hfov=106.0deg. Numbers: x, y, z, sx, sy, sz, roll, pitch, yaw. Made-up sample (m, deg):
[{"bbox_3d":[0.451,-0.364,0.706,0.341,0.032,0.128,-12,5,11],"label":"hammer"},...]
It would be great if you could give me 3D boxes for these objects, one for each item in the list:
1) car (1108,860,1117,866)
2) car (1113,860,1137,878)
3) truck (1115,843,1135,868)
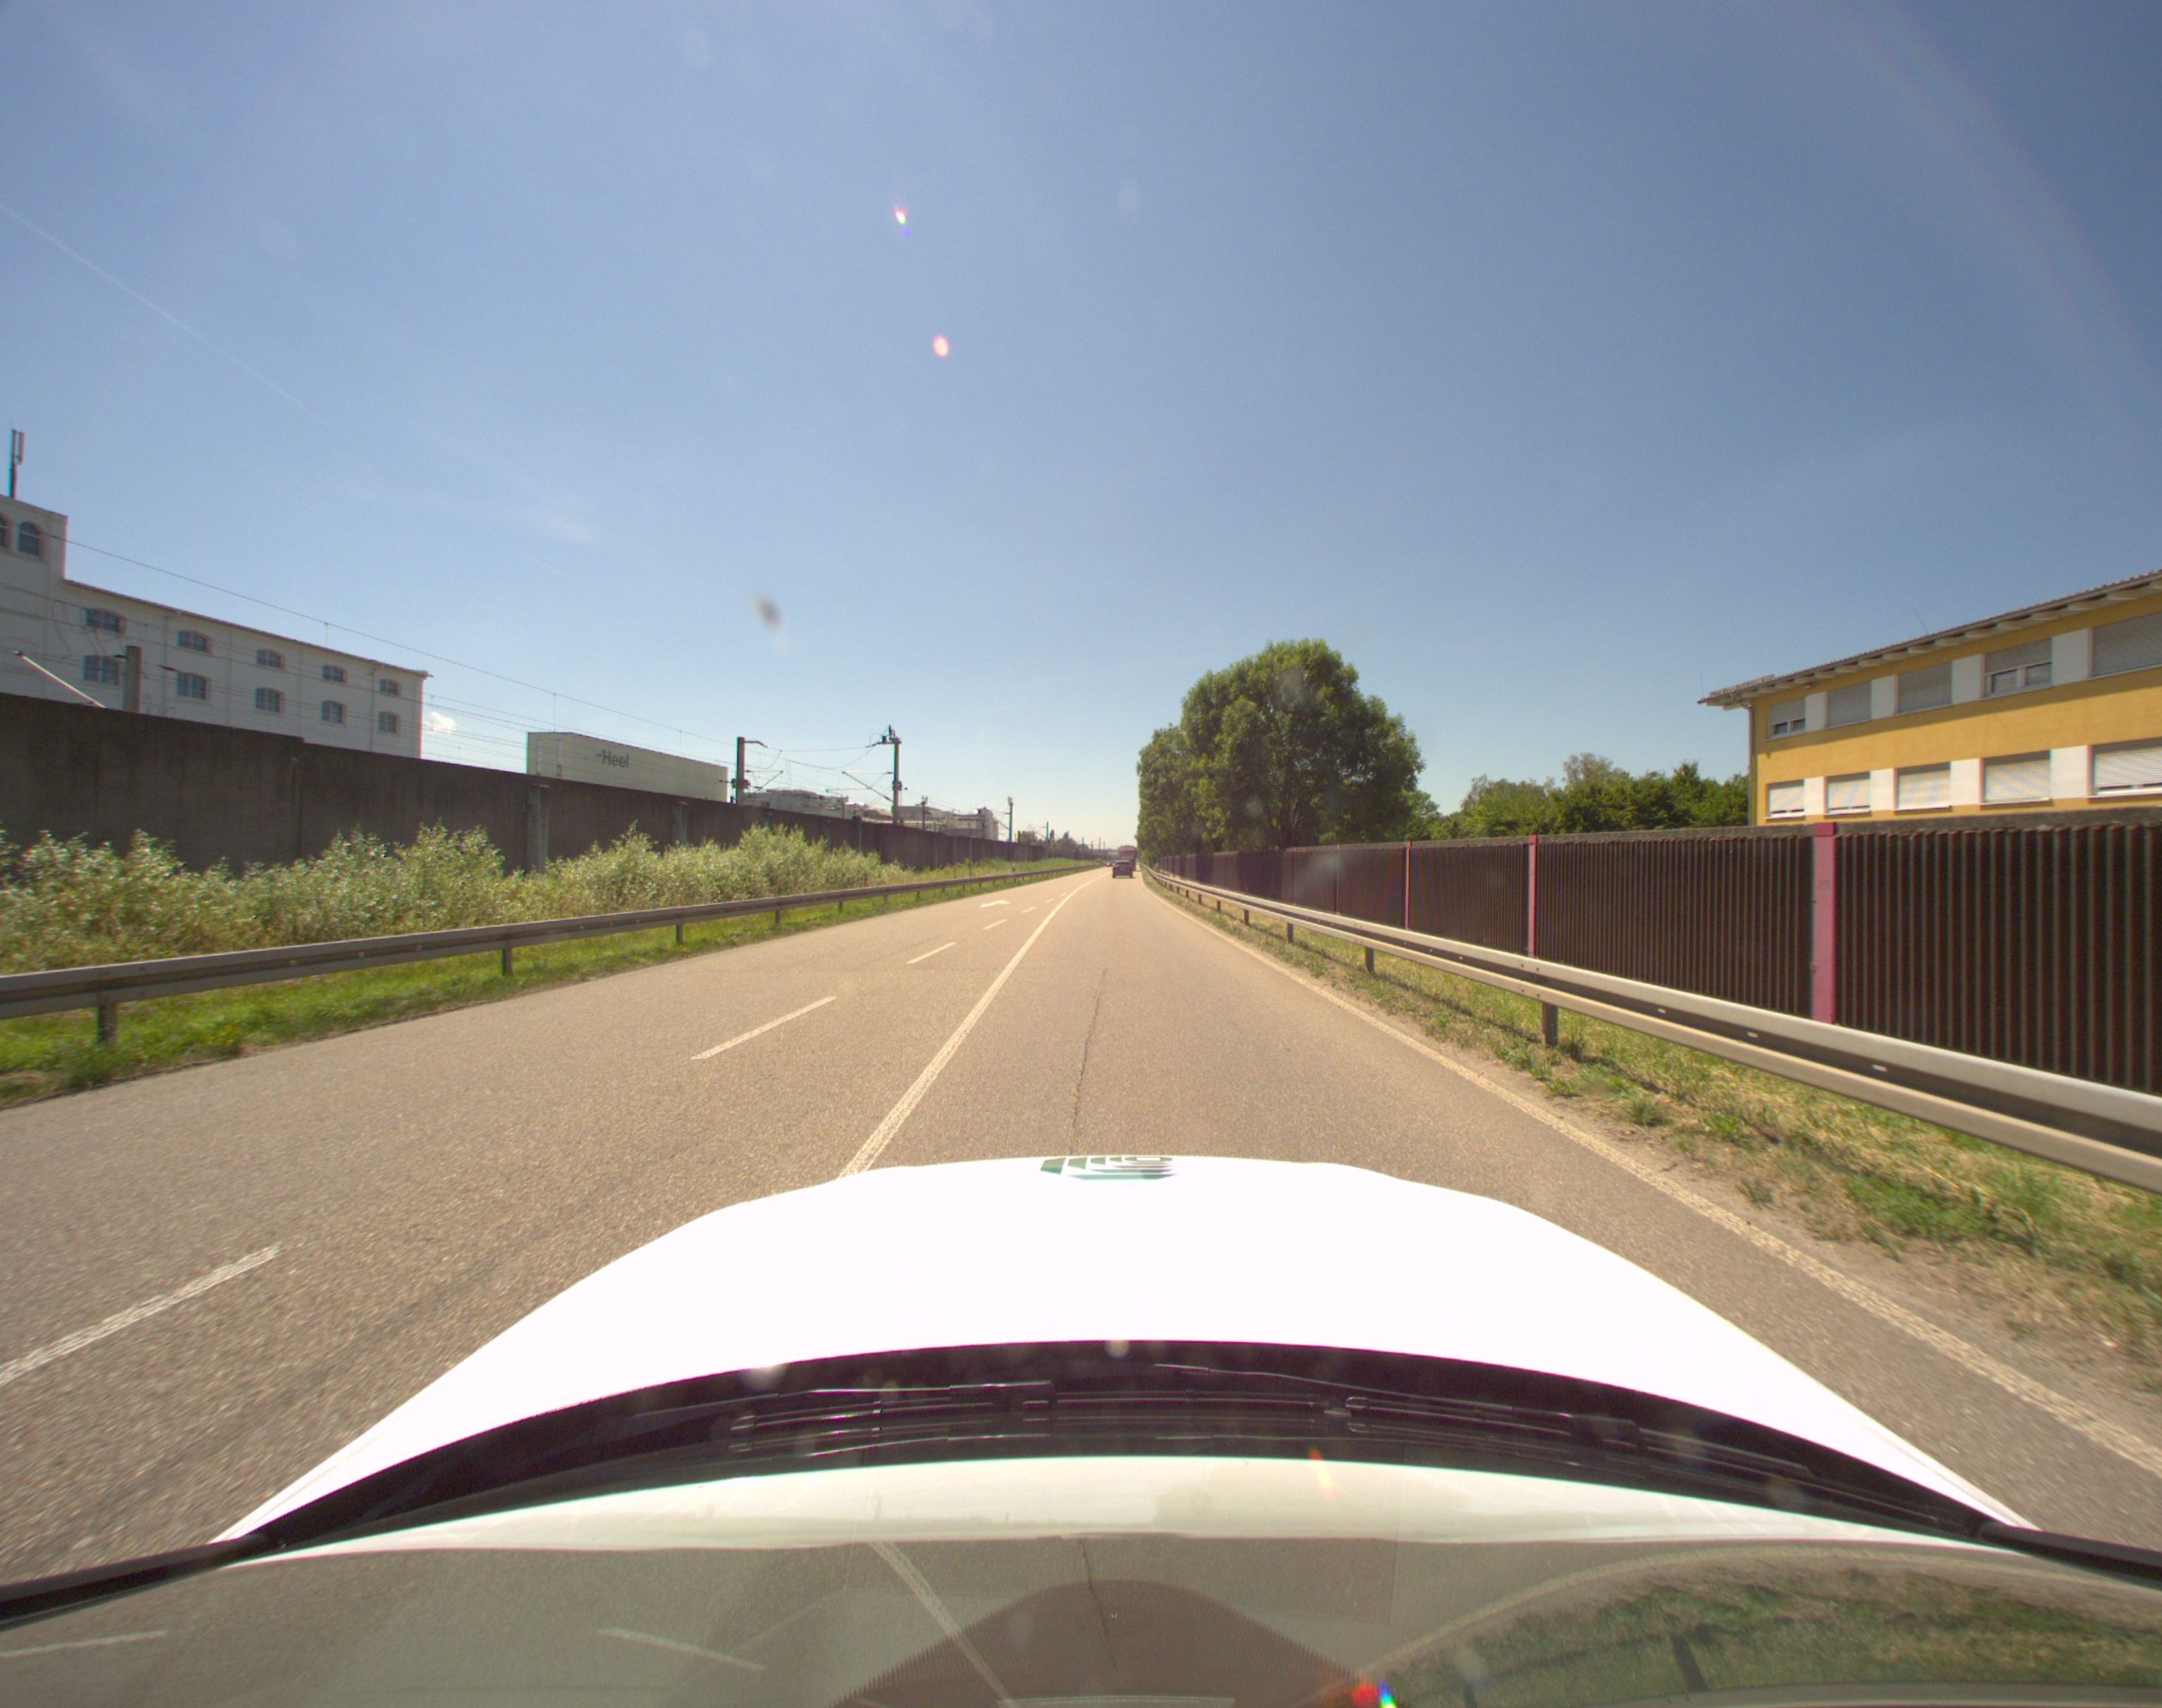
[{"bbox_3d":[7.203,2.066,187.108,1.984,1.508,4.005,-1,-1,5],"label":"car"},{"bbox_3d":[3.878,1.307,72.425,1.986,1.508,4.001,-1,0,2],"label":"car"},{"bbox_3d":[6.436,0.281,117.300,2.758,3.425,10.830,0,-1,4],"label":"truck"}]
